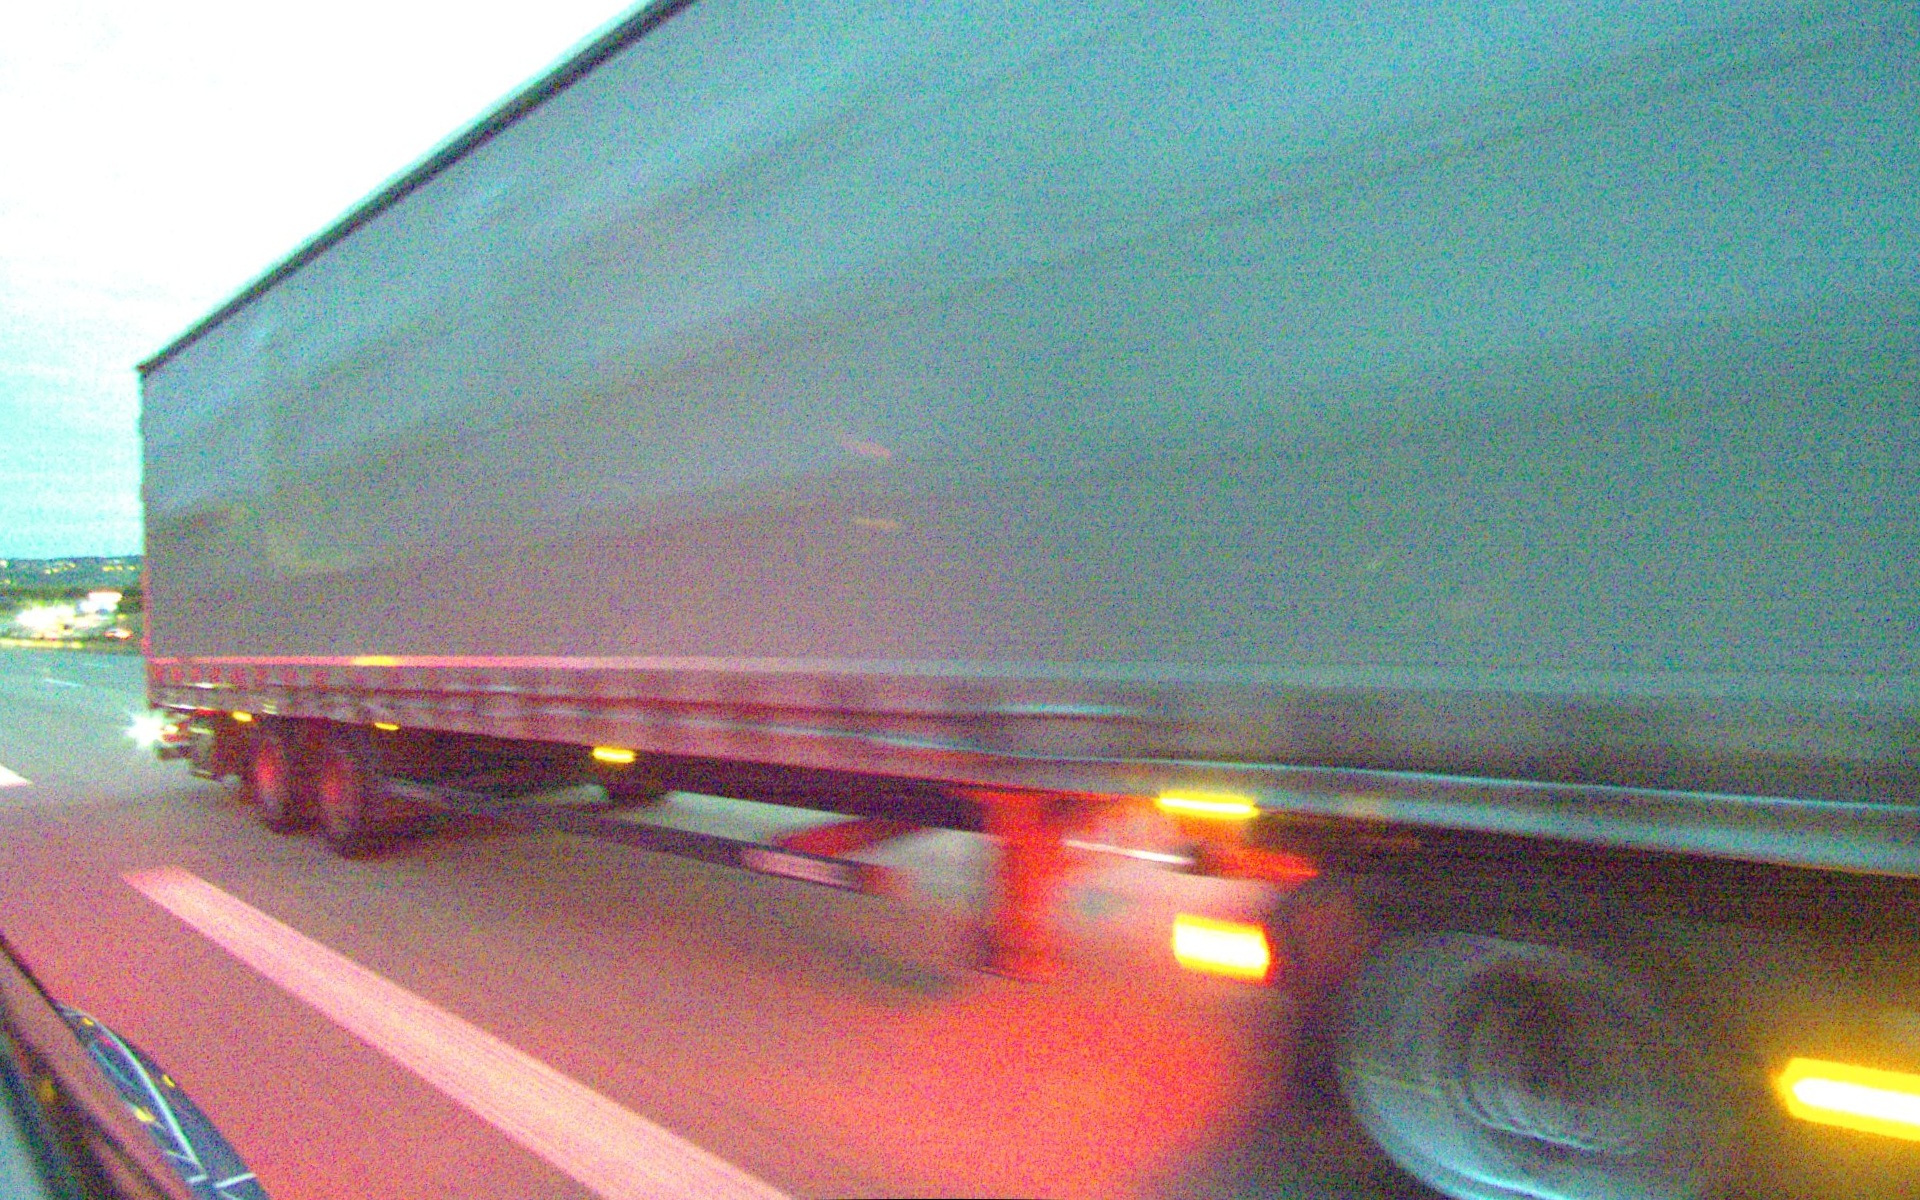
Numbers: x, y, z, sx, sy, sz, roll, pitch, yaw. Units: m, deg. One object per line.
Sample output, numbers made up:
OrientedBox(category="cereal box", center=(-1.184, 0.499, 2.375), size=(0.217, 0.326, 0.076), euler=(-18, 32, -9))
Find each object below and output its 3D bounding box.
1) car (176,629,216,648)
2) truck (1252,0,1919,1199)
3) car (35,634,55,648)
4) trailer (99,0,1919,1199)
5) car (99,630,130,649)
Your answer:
OrientedBox(category="car", center=(-68.196, 3.433, 90.290), size=(4.557, 1.622, 1.972), euler=(-2, -1, 42))
OrientedBox(category="truck", center=(3.918, -0.607, 1.445), size=(6.147, 3.931, 2.752), euler=(-2, -2, 39))
OrientedBox(category="car", center=(-143.346, 6.412, 158.522), size=(4.487, 2.029, 1.972), euler=(-2, -1, 42))
OrientedBox(category="trailer", center=(-1.435, -0.415, 5.816), size=(14.803, 3.945, 2.746), euler=(-2, -2, 39))
OrientedBox(category="car", center=(-101.001, 4.709, 120.898), size=(3.994, 2.029, 1.975), euler=(-2, 0, 38))
